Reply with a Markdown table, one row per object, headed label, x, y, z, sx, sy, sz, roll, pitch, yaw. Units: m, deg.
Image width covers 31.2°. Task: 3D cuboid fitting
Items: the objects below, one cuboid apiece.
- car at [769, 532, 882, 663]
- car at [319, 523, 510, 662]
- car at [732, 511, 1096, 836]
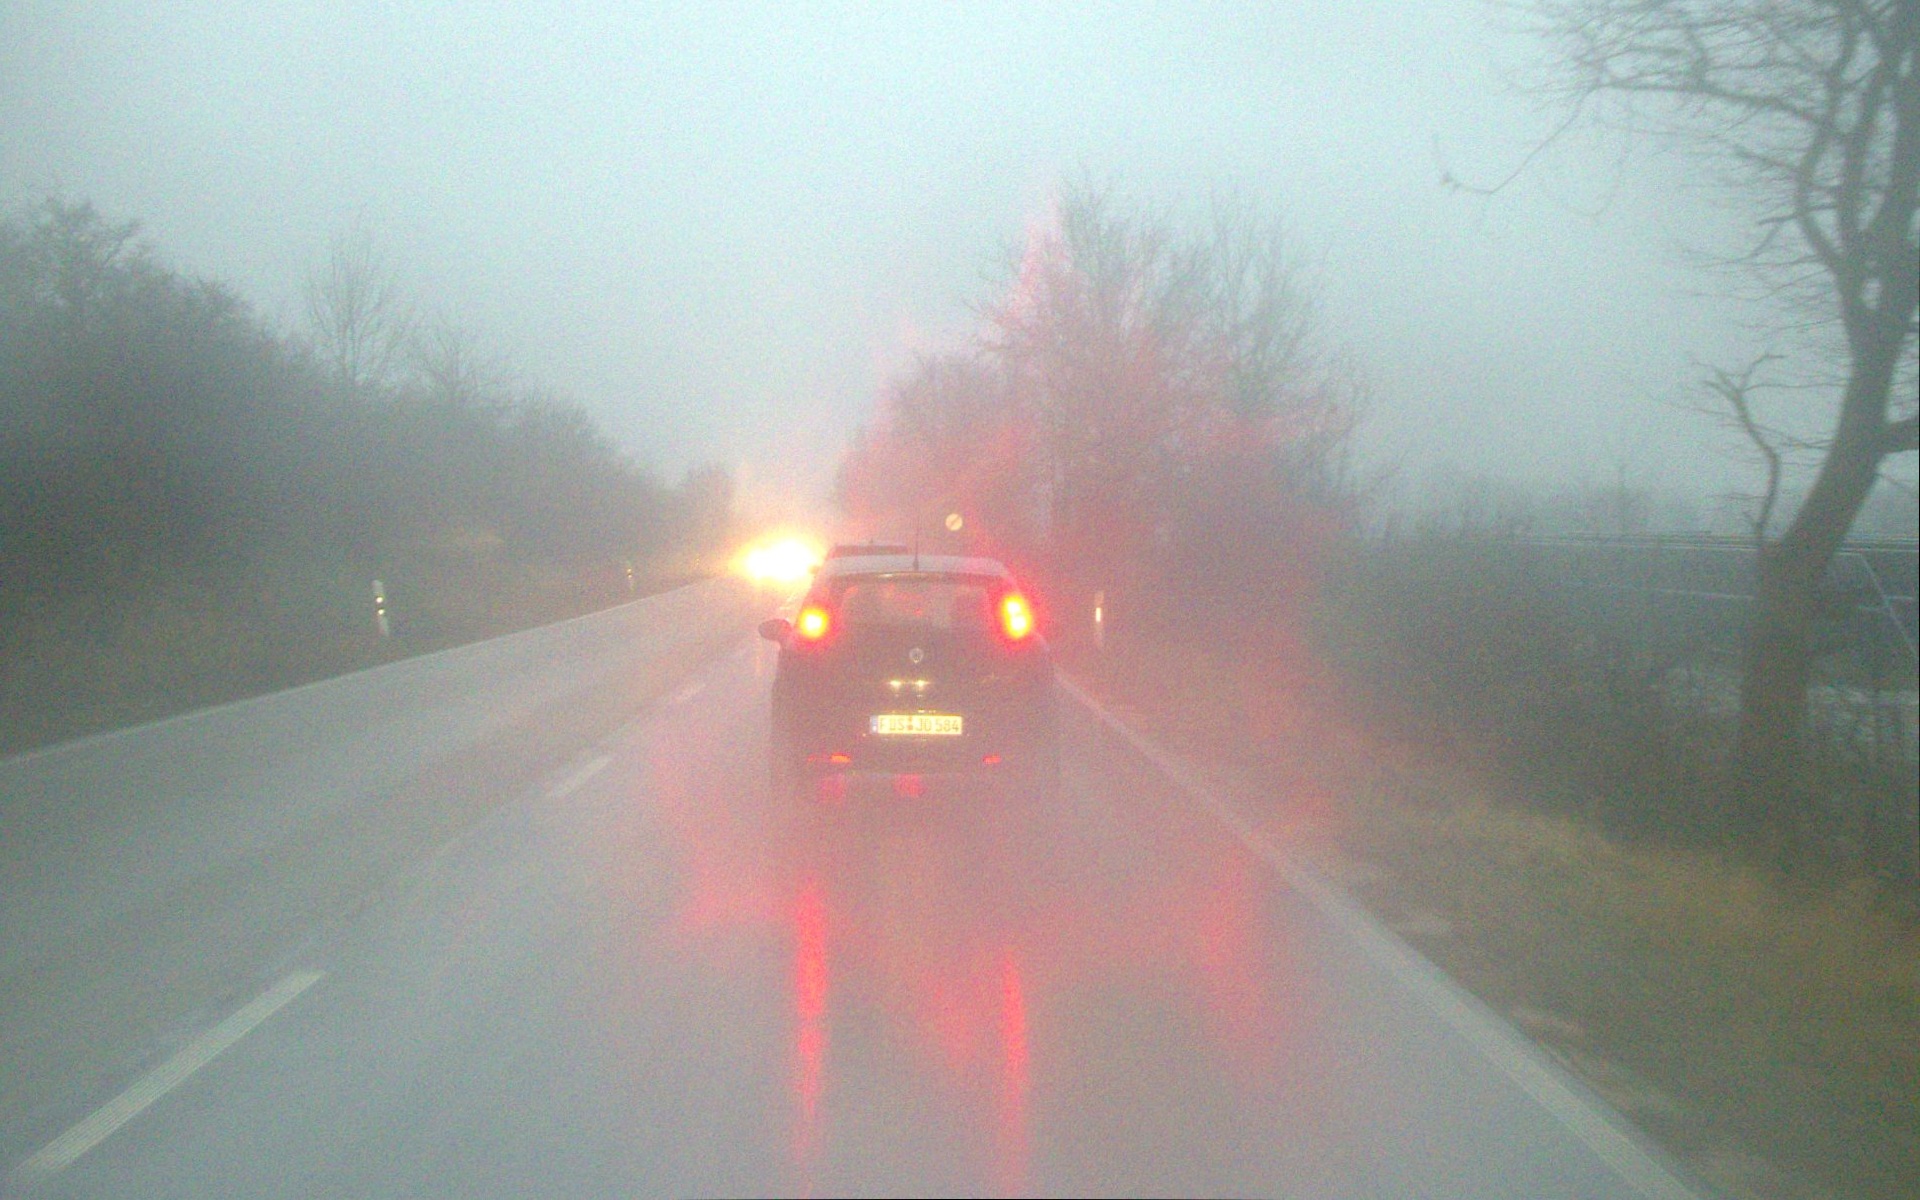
| label | x | y | z | sx | sy | sz | roll | pitch | yaw |
| --- | --- | --- | --- | --- | --- | --- | --- | --- | --- |
| car | -1.992 | -0.056 | 51.606 | 1.574 | 1.868 | 3.709 | 1 | 1 | -1 |
| car | -7.372 | -0.120 | 46.814 | 1.993 | 1.778 | 4.000 | 1 | 1 | -1 |
| car | -0.291 | 0.387 | 21.165 | 1.993 | 1.778 | 4.000 | 1 | 1 | -1 |
